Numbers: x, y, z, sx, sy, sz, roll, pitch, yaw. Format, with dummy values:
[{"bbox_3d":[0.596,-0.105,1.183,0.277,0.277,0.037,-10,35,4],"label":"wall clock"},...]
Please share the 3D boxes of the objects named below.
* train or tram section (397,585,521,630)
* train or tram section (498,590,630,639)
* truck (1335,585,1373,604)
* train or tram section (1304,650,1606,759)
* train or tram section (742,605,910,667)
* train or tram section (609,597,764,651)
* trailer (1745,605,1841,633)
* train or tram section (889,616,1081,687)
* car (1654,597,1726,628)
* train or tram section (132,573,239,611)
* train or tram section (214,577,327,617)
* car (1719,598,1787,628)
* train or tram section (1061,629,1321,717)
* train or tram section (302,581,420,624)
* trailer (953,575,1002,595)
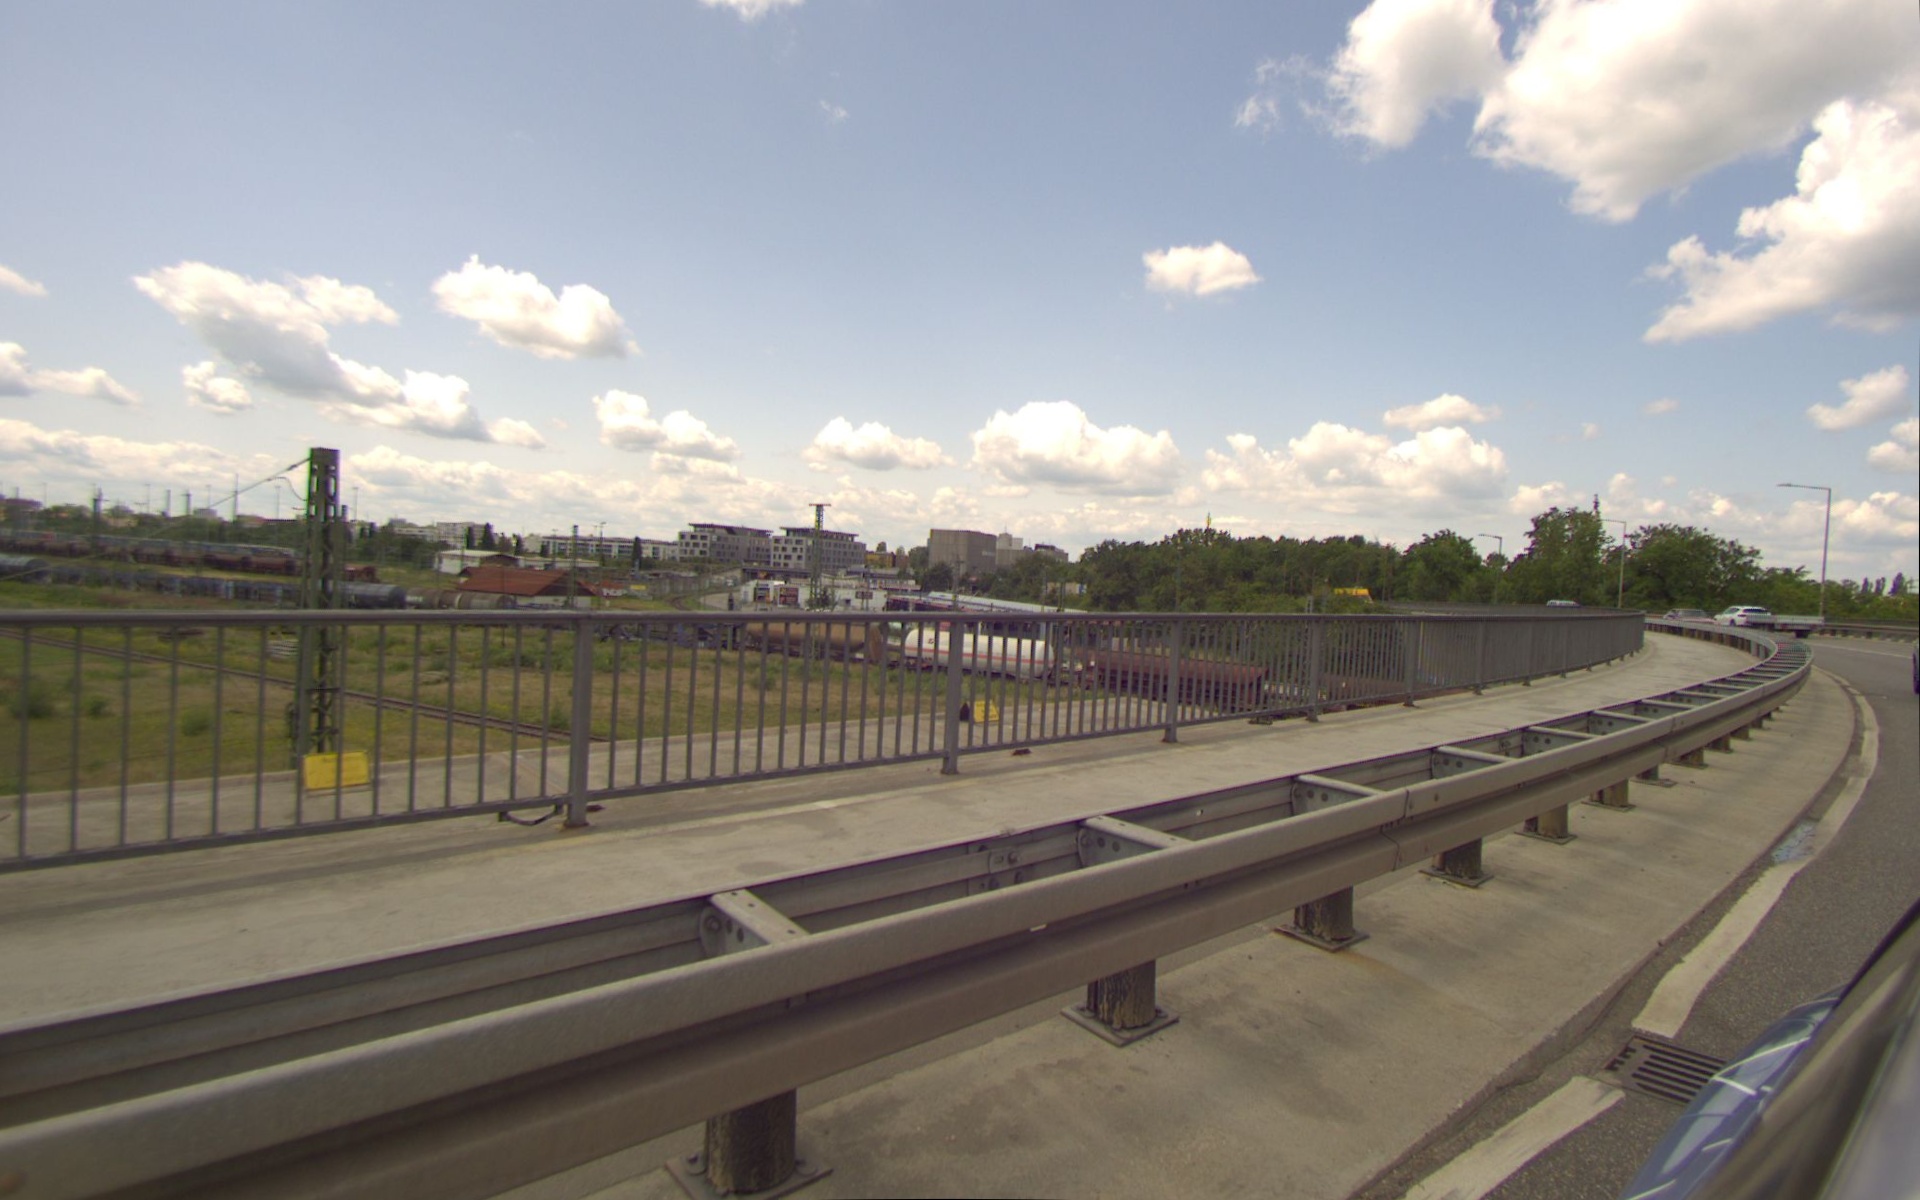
[{"bbox_3d":[-57.492,0.764,115.882,15.784,4.202,3.190,3,4,23],"label":"train or tram section"},{"bbox_3d":[-43.017,1.450,109.661,15.789,4.202,3.189,3,4,24],"label":"train or tram section"},{"bbox_3d":[48.648,-0.682,125.012,1.961,2.038,6.152,2,2,-3],"label":"truck"},{"bbox_3d":[29.999,6.111,62.775,16.555,4.202,3.093,5,5,43],"label":"train or tram section"},{"bbox_3d":[-12.699,3.155,93.783,17.568,4.202,3.177,4,5,33],"label":"train or tram section"},{"bbox_3d":[-27.908,2.273,102.461,17.525,4.202,3.185,3,4,27],"label":"train or tram section"},{"bbox_3d":[41.361,0.925,50.454,2.029,1.224,5.936,1,1,23],"label":"trailer"},{"bbox_3d":[1.772,4.071,84.392,16.847,4.202,3.182,4,5,33],"label":"train or tram section"},{"bbox_3d":[37.566,0.603,52.191,1.805,1.354,3.978,3,2,18],"label":"car"},{"bbox_3d":[-101.804,-1.164,132.945,15.768,4.202,3.194,3,4,20],"label":"train or tram section"},{"bbox_3d":[-86.972,-0.506,127.509,15.767,4.202,3.194,3,4,20],"label":"train or tram section"},{"bbox_3d":[43.221,0.688,55.275,1.792,1.554,4.315,1,1,23],"label":"car"},{"bbox_3d":[16.353,5.053,74.114,18.793,4.202,3.180,4,5,37],"label":"train or tram section"},{"bbox_3d":[-72.203,0.211,121.829,15.775,4.202,3.192,3,4,21],"label":"train or tram section"},{"bbox_3d":[3.815,-3.503,228.849,2.666,4.333,14.216,0,1,-39],"label":"trailer"}]
